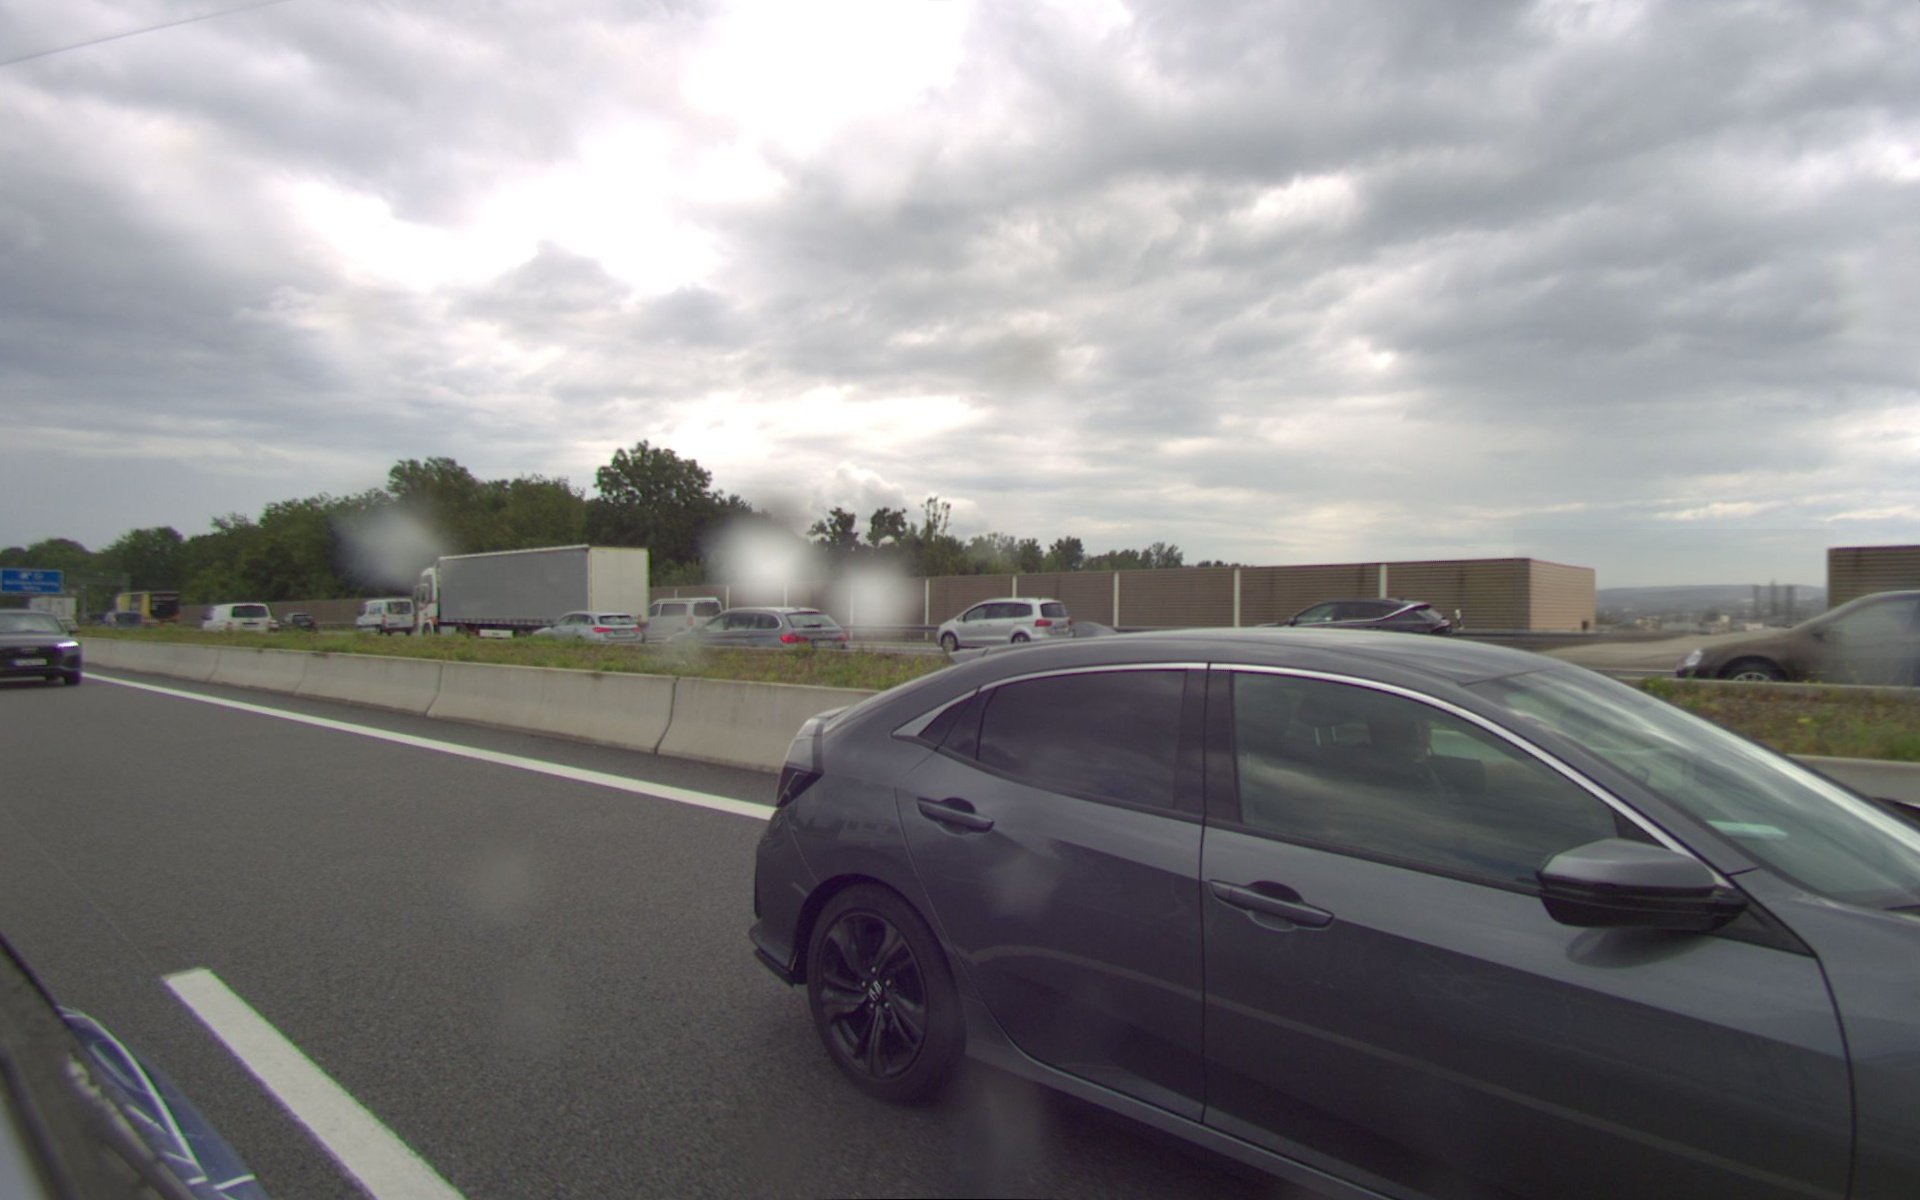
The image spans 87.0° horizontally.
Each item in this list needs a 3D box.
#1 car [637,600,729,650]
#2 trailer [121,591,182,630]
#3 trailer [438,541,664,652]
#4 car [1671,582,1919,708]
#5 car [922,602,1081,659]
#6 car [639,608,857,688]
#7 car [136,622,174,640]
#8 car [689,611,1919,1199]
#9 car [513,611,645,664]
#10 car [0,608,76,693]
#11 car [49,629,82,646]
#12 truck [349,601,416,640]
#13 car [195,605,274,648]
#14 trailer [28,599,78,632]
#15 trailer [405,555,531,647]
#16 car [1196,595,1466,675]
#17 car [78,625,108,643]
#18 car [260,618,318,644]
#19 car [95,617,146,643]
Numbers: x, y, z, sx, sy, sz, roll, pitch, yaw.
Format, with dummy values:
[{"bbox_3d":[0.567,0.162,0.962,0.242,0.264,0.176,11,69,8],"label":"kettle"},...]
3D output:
[{"bbox_3d":[-11.979,1.049,43.688,3.999,2.029,1.981,-1,0,42],"label":"car"},{"bbox_3d":[-86.629,1.168,108.331,14.045,3.994,2.650,-1,0,41],"label":"trailer"},{"bbox_3d":[-17.756,-0.049,43.079,13.282,4.092,3.285,-1,0,41],"label":"trailer"},{"bbox_3d":[11.810,0.510,12.382,4.940,1.465,1.747,-1,0,41],"label":"car"},{"bbox_3d":[1.223,0.916,31.706,4.940,1.622,1.747,-1,0,41],"label":"car"},{"bbox_3d":[-4.550,0.938,21.230,5.082,1.465,1.747,-1,0,41],"label":"car"},{"bbox_3d":[-72.458,2.785,91.076,5.157,1.548,1.747,-1,0,41],"label":"car"},{"bbox_3d":[1.551,0.730,2.481,5.057,1.379,1.742,-1,-1,41],"label":"car"},{"bbox_3d":[-12.433,1.168,32.837,5.157,1.548,1.747,-1,0,41],"label":"car"},{"bbox_3d":[-21.273,1.063,22.554,5.169,1.704,1.887,-1,-1,43],"label":"car"},{"bbox_3d":[-87.383,3.664,98.836,5.237,1.548,1.747,-1,0,41],"label":"car"},{"bbox_3d":[-37.733,1.329,66.016,5.795,2.435,2.093,-1,0,42],"label":"truck"},{"bbox_3d":[-34.867,1.237,48.568,5.157,1.914,1.903,-1,0,41],"label":"car"},{"bbox_3d":[-110.987,1.894,123.715,14.043,3.915,2.697,-1,0,41],"label":"trailer"},{"bbox_3d":[-23.403,0.055,48.059,6.076,4.074,3.285,-1,0,41],"label":"trailer"},{"bbox_3d":[7.523,0.667,20.872,4.940,1.465,1.747,-1,0,41],"label":"car"},{"bbox_3d":[-94.154,3.681,109.902,5.036,1.909,1.747,-1,0,41],"label":"car"},{"bbox_3d":[-42.521,1.962,64.091,5.157,1.548,1.747,-1,0,41],"label":"car"},{"bbox_3d":[-53.053,1.868,63.959,4.480,1.548,1.747,-1,0,41],"label":"car"}]
